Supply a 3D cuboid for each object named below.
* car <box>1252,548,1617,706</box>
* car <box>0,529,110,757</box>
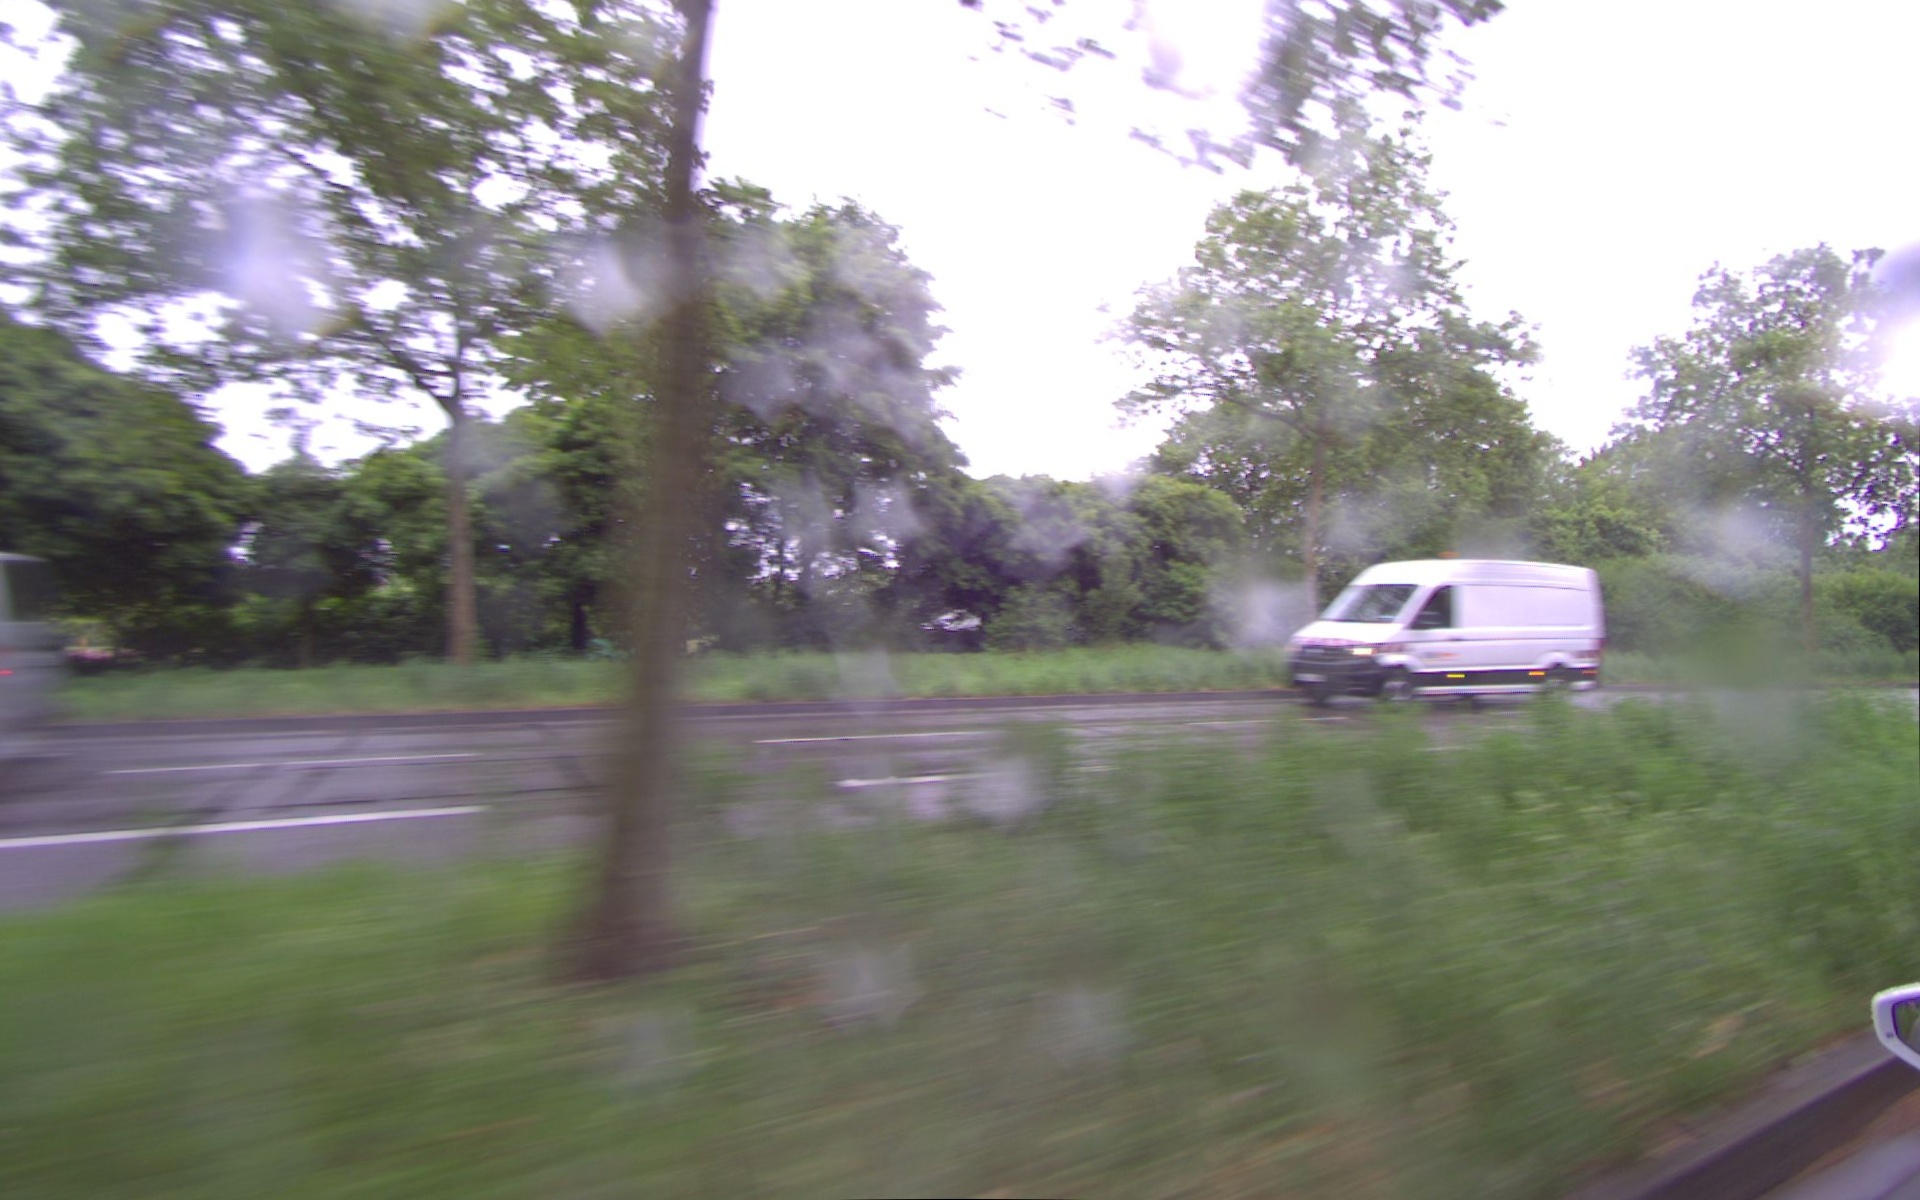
[{"bbox_3d":[8.447,0.487,17.841,6.268,2.459,2.274,1,-1,-23],"label":"car"},{"bbox_3d":[-10.749,0.348,8.452,5.131,1.966,1.927,1,-1,-27],"label":"car"}]
